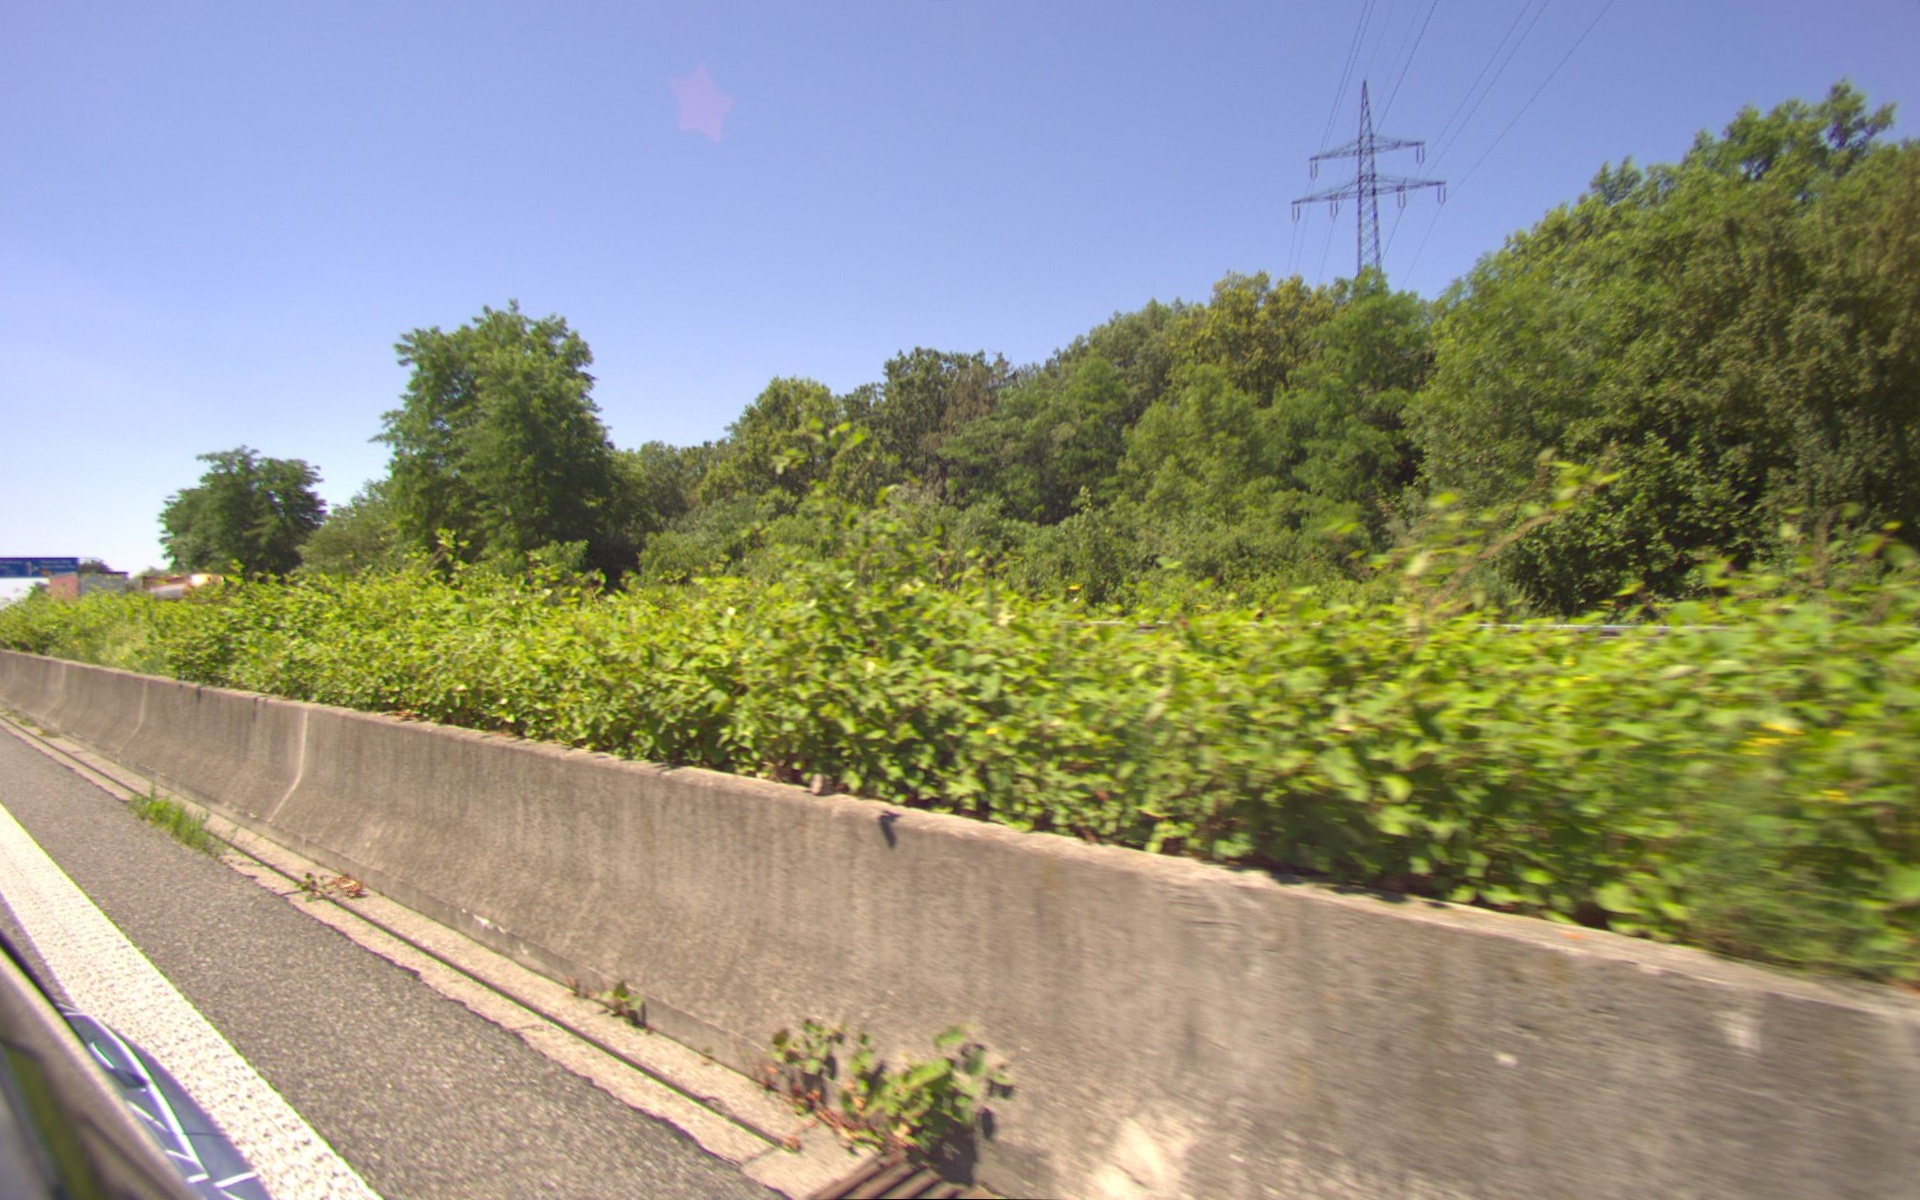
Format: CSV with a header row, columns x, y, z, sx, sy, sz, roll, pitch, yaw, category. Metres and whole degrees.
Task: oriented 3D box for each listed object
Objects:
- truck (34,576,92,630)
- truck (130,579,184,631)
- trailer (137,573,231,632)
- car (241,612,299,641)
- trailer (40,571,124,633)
x,y,z,sx,sy,sz,roll,pitch,yaw,category
-66.439,0.239,74.911,5.725,3.817,2.440,-1,0,41,truck
-58.038,0.348,73.140,4.161,3.629,2.333,-1,-1,41,truck
-52.657,0.244,68.447,14.214,3.623,2.347,-1,-1,41,trailer
-38.105,1.438,55.867,3.998,1.490,1.703,-1,0,41,car
-61.196,0.201,70.319,14.392,3.965,2.440,-1,-1,41,trailer
